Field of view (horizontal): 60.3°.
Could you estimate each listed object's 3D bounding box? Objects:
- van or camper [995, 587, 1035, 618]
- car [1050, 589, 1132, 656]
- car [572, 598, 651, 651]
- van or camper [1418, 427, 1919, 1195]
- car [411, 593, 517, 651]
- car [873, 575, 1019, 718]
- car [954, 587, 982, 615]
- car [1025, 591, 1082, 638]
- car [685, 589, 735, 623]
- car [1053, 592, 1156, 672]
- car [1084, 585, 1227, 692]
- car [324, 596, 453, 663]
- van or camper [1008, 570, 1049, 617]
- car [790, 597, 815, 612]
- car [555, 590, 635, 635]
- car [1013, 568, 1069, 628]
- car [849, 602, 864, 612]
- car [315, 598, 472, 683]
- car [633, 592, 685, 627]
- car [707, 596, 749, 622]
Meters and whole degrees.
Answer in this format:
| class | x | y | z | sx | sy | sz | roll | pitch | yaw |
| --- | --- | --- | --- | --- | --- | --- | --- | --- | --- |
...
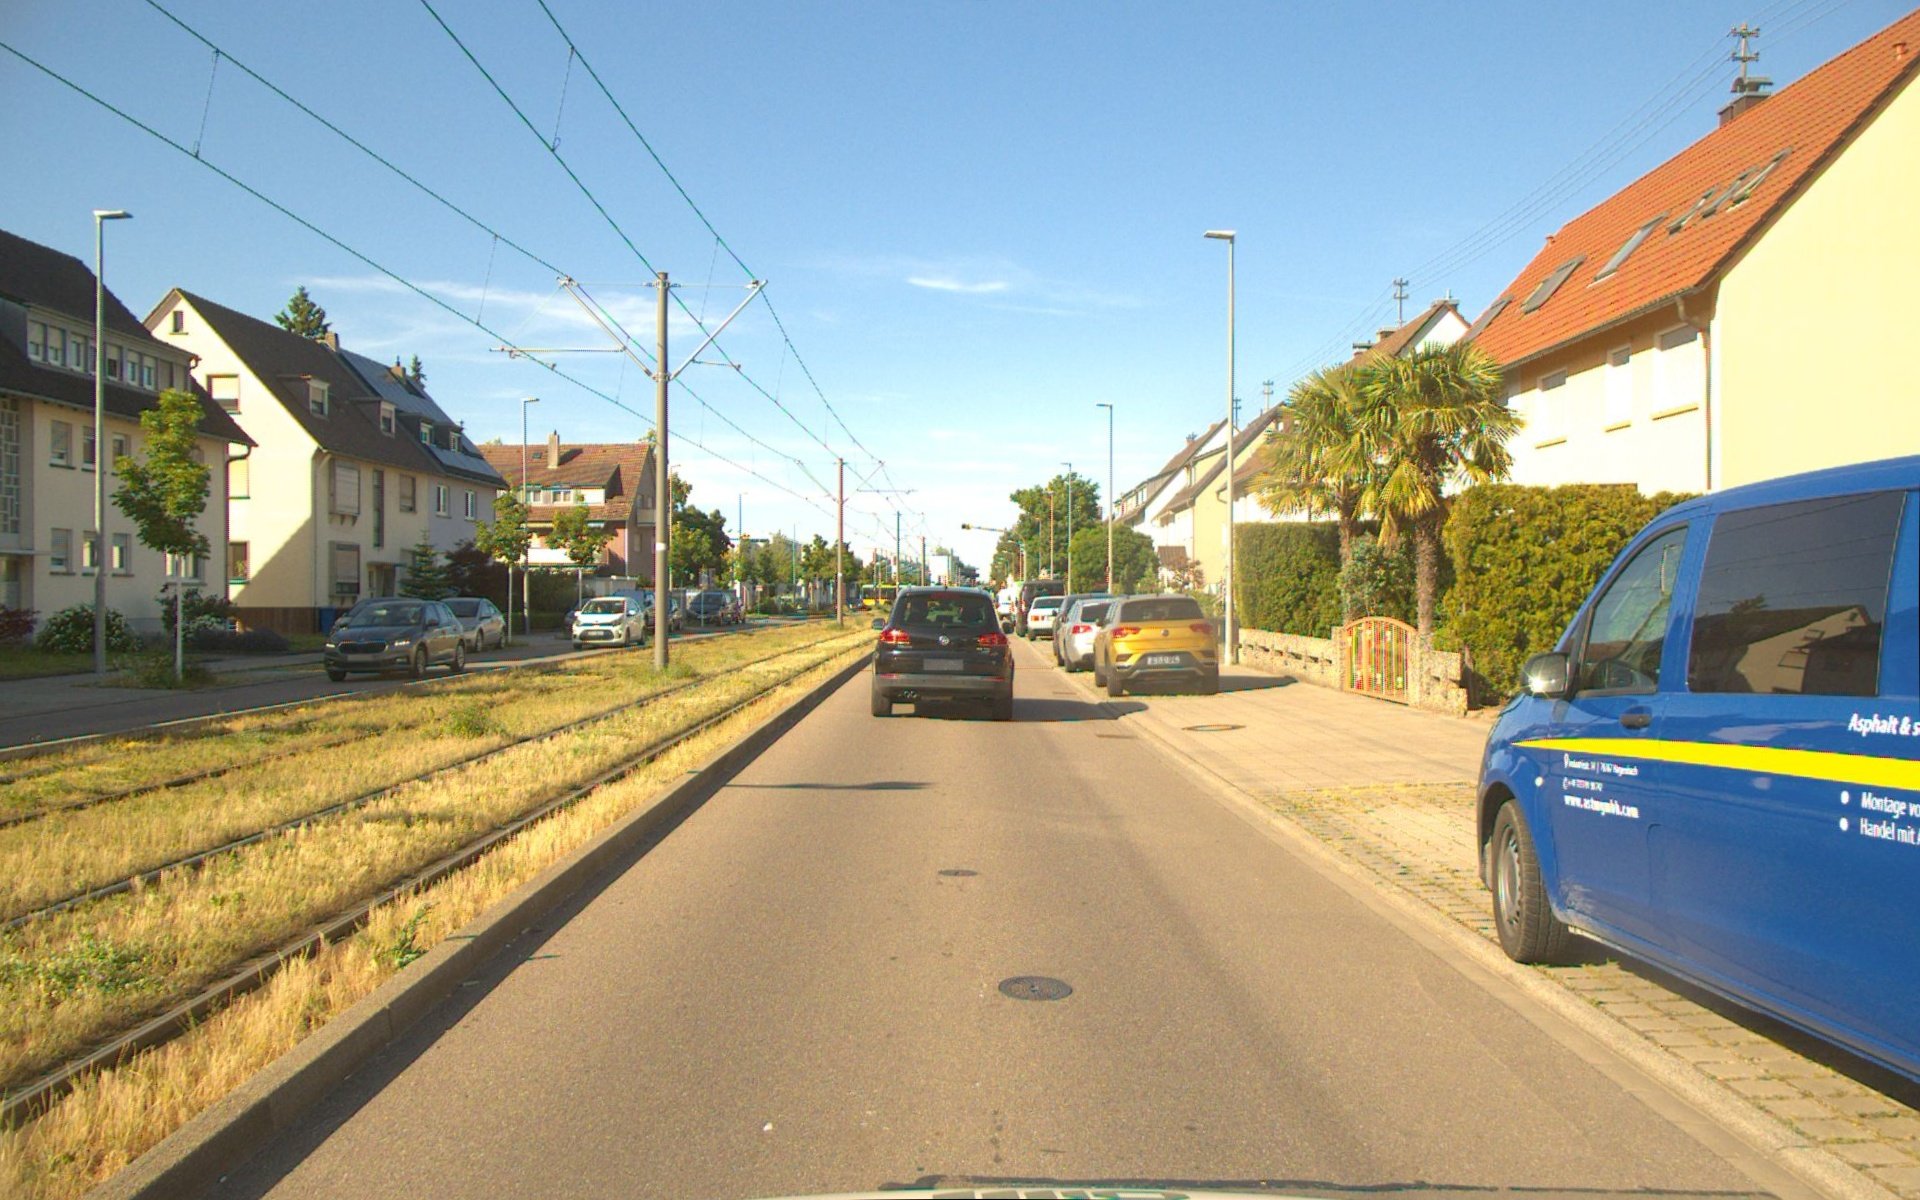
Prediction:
| class | x | y | z | sx | sy | sz | roll | pitch | yaw |
| --- | --- | --- | --- | --- | --- | --- | --- | --- | --- |
| van or camper | 3.618 | 0.147 | 107.525 | 1.984 | 1.990 | 5.299 | 0 | 0 | 9 |
| car | 3.159 | 0.508 | 40.585 | 1.740 | 1.525 | 4.729 | 0 | 0 | 1 |
| car | -10.330 | 0.709 | 49.236 | 1.654 | 1.501 | 3.679 | 0 | 0 | -1 |
| van or camper | 3.266 | 0.506 | 5.278 | 1.909 | 1.879 | 5.581 | -1 | 0 | -1 |
| car | -13.724 | 0.587 | 45.984 | 1.654 | 1.501 | 4.442 | 1 | 0 | -1 |
| car | -0.210 | 0.578 | 22.142 | 1.740 | 1.699 | 3.999 | 1 | 0 | -1 |
| car | 0.532 | 0.076 | 112.994 | 1.595 | 1.860 | 4.128 | 0 | 0 | -4 |
| car | 3.202 | 0.460 | 57.450 | 1.814 | 1.469 | 5.615 | -2 | 0 | 2 |
| car | -13.136 | 0.307 | 87.226 | 1.782 | 1.714 | 4.846 | 2 | 0 | 1 |
| car | 2.983 | 0.615 | 34.919 | 1.712 | 1.472 | 4.698 | -1 | 1 | 0 |
| car | 3.149 | 0.585 | 27.531 | 1.768 | 1.586 | 4.926 | -1 | 0 | 0 |
| car | -13.728 | 0.678 | 39.986 | 1.654 | 1.498 | 4.313 | 1 | 0 | -1 |
| van or camper | 3.555 | -0.321 | 86.807 | 1.952 | 2.310 | 6.305 | -2 | 0 | 1 |
| car | -16.471 | 0.504 | 173.226 | 1.772 | 1.486 | 4.320 | 1 | 0 | 5 |
| car | -13.667 | 0.472 | 62.137 | 1.920 | 1.567 | 4.557 | 1 | 0 | 0 |
| car | 3.110 | -0.066 | 64.287 | 1.919 | 2.181 | 5.335 | -1 | 0 | 0 |
| car | -14.772 | 0.961 | 236.563 | 1.653 | 1.413 | 4.389 | -2 | 0 | 2 |
| car | -10.829 | 0.746 | 31.910 | 1.654 | 1.501 | 4.082 | 1 | 0 | -1 |
| car | -13.497 | 0.414 | 74.245 | 1.642 | 1.517 | 4.049 | 2 | 0 | -1 |
| car | -13.049 | 0.494 | 93.191 | 1.660 | 1.429 | 4.079 | 0 | 0 | 1 |
